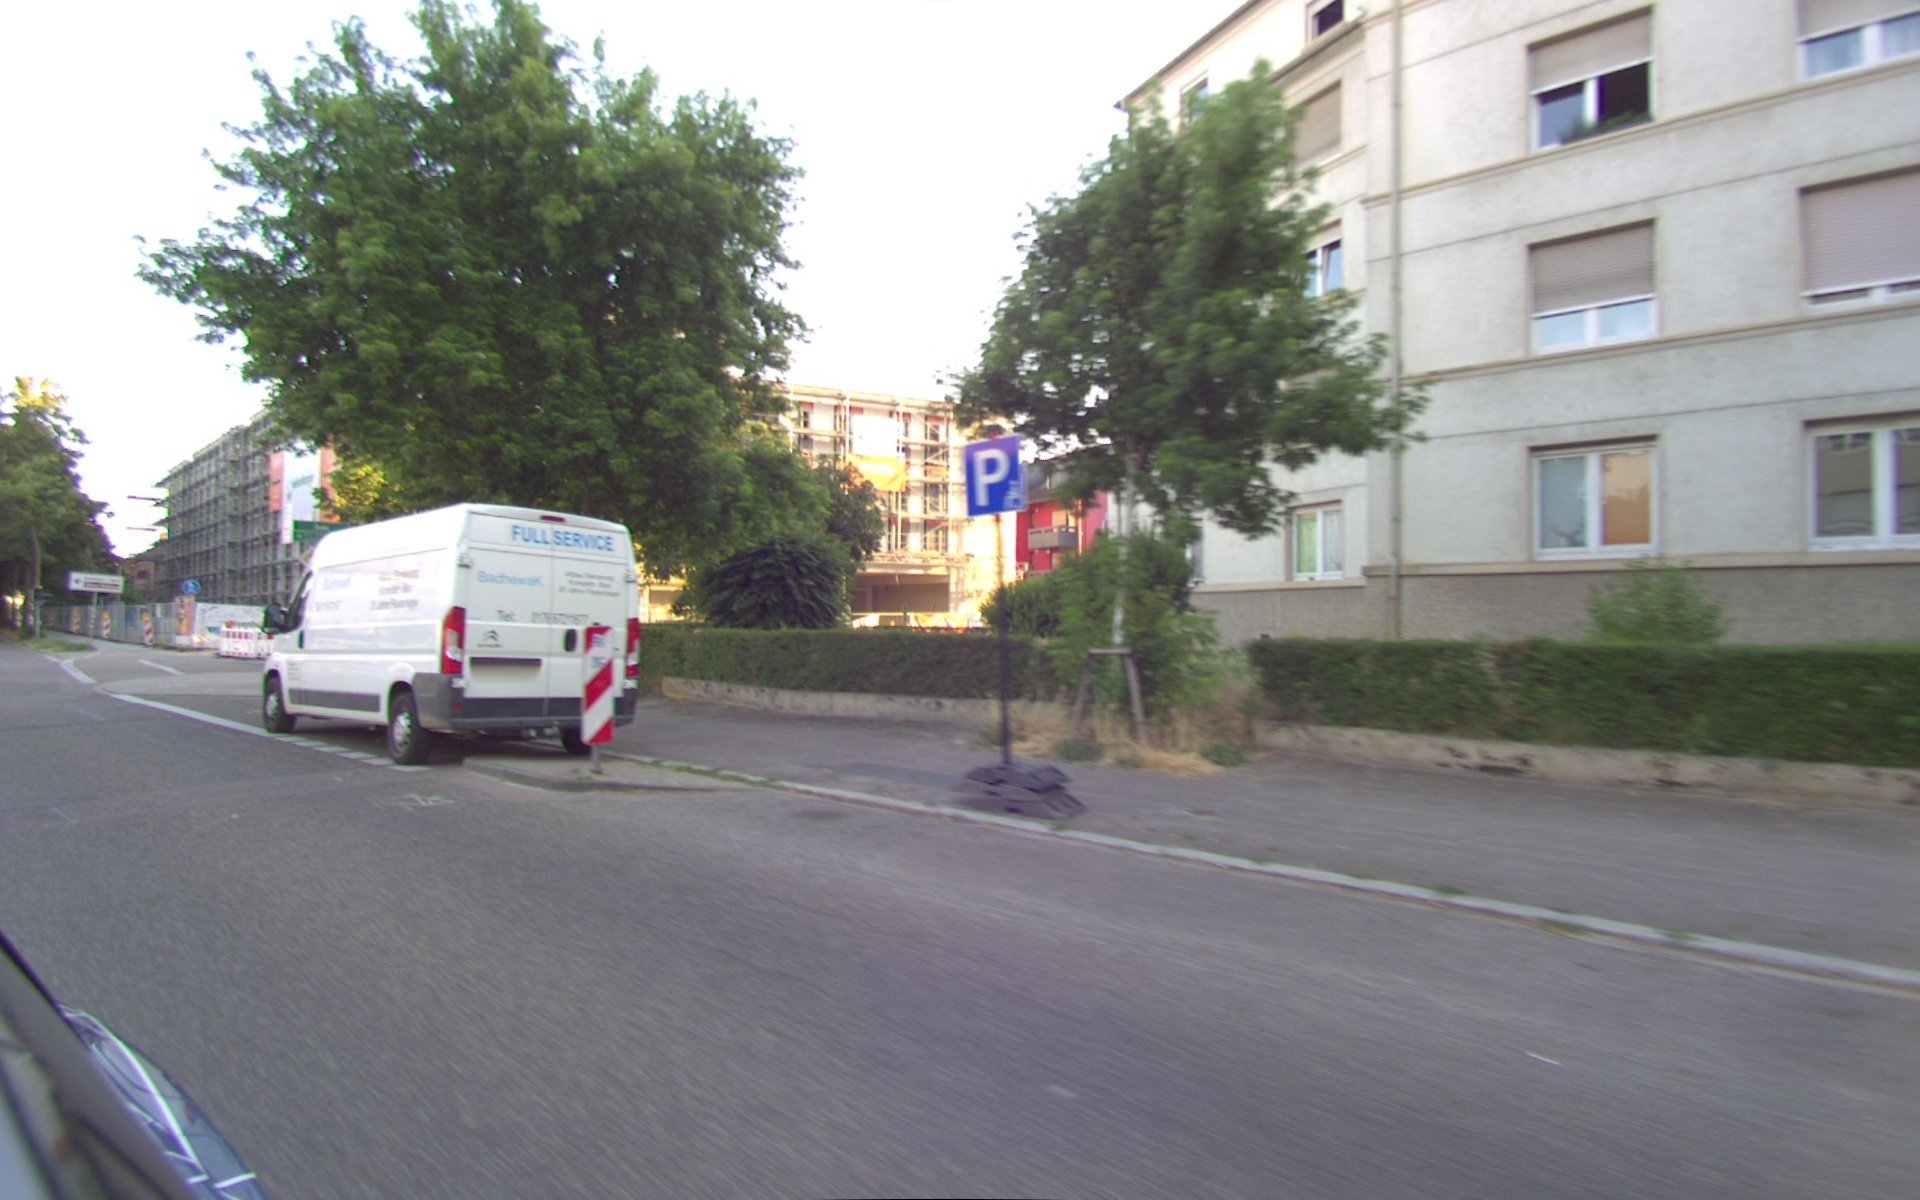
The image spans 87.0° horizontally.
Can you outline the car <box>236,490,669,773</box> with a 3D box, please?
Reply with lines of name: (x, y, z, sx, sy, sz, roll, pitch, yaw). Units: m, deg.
car: (-6.079, 0.388, 11.664, 6.099, 2.480, 2.156, -1, -5, 41)
